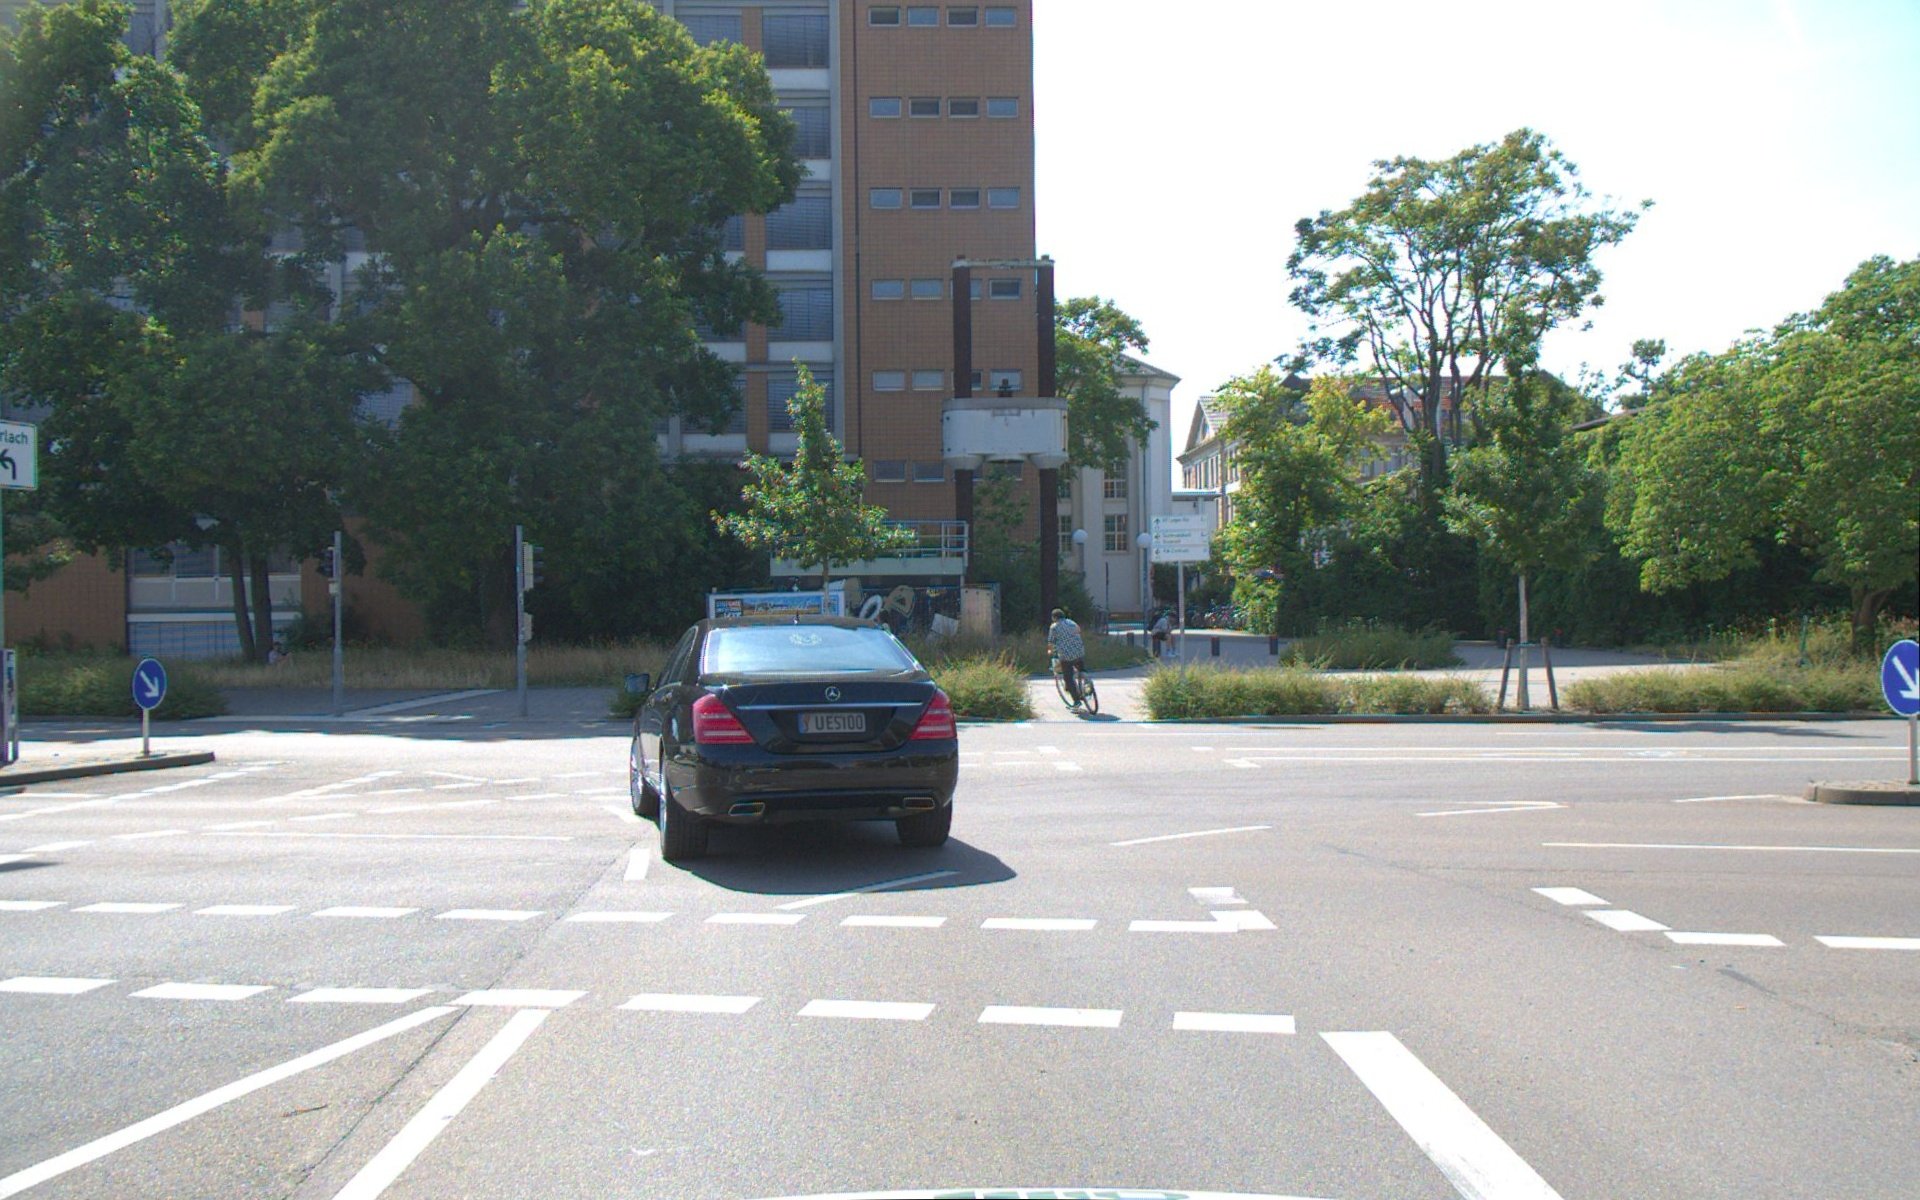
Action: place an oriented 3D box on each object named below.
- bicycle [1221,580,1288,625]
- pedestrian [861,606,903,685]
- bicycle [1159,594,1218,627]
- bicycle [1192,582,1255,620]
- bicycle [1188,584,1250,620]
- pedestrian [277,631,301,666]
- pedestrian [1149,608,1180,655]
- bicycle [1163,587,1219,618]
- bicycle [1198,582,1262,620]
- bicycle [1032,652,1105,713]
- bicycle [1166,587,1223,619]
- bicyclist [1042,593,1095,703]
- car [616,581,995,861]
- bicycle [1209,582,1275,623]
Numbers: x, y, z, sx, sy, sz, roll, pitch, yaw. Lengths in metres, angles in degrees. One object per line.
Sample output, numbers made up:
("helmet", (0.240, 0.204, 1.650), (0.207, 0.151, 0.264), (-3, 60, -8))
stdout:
("bicycle", (12.858, 0.114, 72.256), (2.766, 1.868, 0.841), (-1, 0, -2))
("pedestrian", (-1.614, 0.944, 34.456), (0.794, 1.607, 0.692), (-1, -1, 1))
("bicycle", (11.461, 0.512, 83.036), (2.766, 1.586, 0.841), (-1, 0, -2))
("bicycle", (12.287, 0.042, 77.081), (2.766, 1.688, 0.841), (-1, 1, -2))
("bicycle", (12.213, 0.081, 78.030), (2.766, 1.615, 0.841), (-1, 0, -2))
("pedestrian", (-17.731, 1.288, 43.712), (0.419, 0.907, 0.393), (-1, -1, 8))
("pedestrian", (5.487, 0.831, 44.435), (0.776, 1.235, 0.758), (1, 0, 6))
("bicycle", (12.059, 0.123, 86.453), (2.766, 1.506, 0.841), (-1, 0, -2))
("bicycle", (12.401, 0.053, 76.004), (2.766, 1.678, 0.841), (-1, 0, -2))
("bicycle", (1.896, 1.441, 29.240), (0.681, 0.963, 1.950), (1, 0, -15))
("bicycle", (12.081, 0.150, 85.265), (2.766, 1.526, 0.841), (-1, 0, -2))
("bicyclist", (1.912, 0.832, 29.128), (0.674, 1.911, 0.856), (1, 0, -16))
("car", (-1.319, 0.787, 11.723), (1.828, 1.557, 4.692), (2, -3, -16))
("bicycle", (12.689, 0.126, 74.513), (2.766, 1.775, 0.841), (-1, 0, -2))
